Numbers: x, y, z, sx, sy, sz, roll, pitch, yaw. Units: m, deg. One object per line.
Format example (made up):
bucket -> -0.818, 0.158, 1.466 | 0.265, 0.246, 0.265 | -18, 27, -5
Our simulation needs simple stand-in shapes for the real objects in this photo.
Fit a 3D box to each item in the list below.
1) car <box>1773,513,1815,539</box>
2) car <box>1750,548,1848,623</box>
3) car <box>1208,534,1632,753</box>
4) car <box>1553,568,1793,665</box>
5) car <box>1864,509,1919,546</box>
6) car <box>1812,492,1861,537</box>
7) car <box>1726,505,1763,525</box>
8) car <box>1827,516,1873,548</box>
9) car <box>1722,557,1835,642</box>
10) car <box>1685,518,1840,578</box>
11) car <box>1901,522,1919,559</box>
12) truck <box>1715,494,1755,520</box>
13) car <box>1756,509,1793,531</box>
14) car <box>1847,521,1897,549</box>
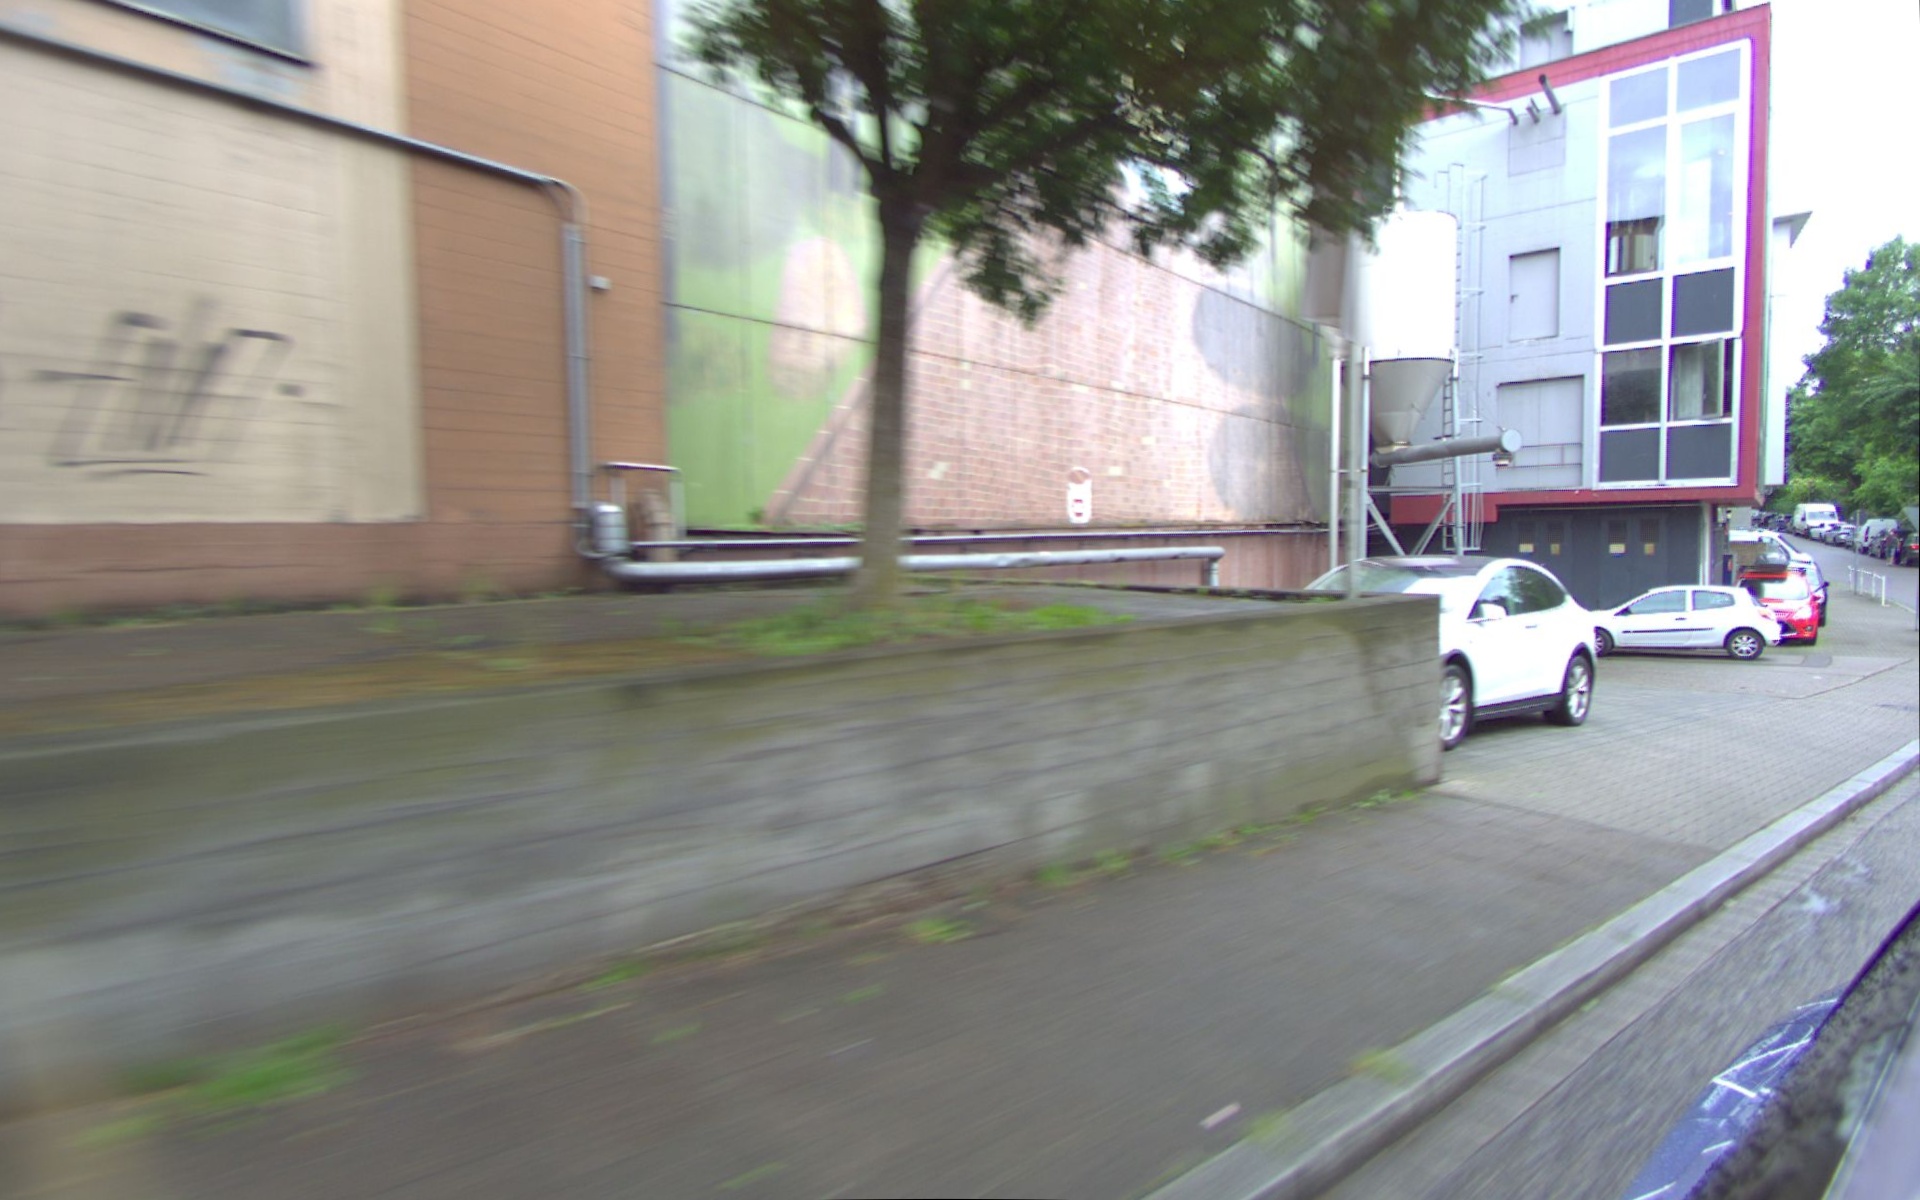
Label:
car -> 71.097, -6.314, 86.311 | 1.892, 2.058, 3.964 | 3, 6, 28
car -> 23.968, -0.500, 28.924 | 1.925, 1.731, 3.945 | 6, 8, 40
car -> 4.691, 0.313, 9.928 | 4.828, 1.637, 1.857 | 1, 3, -41
car -> 15.207, 0.262, 21.766 | 3.973, 1.550, 1.851 | 7, 7, 37
car -> 55.897, -4.386, 60.718 | 1.898, 2.099, 3.952 | 4, 7, 36
car -> 67.508, -6.615, 78.053 | 2.210, 3.320, 5.019 | 4, 7, 35
car -> 77.401, -8.420, 99.905 | 1.888, 1.963, 3.972 | 2, 6, 24
car -> 62.827, -4.844, 71.504 | 1.898, 2.058, 3.952 | 4, 7, 36
car -> 20.065, -0.107, 24.793 | 1.925, 1.731, 4.428 | 5, 6, 40
car -> 34.047, -2.281, 43.049 | 4.881, 2.236, 1.855 | 7, 9, 44
car -> 47.967, -2.945, 49.770 | 1.898, 1.670, 3.952 | 4, 7, 35
truck -> 81.243, -9.776, 106.182 | 2.026, 2.659, 3.979 | 2, 6, 20
car -> 75.657, -7.490, 94.008 | 1.892, 1.963, 3.964 | 3, 6, 28
car -> 59.714, -4.283, 66.294 | 1.898, 1.670, 3.952 | 4, 7, 35
